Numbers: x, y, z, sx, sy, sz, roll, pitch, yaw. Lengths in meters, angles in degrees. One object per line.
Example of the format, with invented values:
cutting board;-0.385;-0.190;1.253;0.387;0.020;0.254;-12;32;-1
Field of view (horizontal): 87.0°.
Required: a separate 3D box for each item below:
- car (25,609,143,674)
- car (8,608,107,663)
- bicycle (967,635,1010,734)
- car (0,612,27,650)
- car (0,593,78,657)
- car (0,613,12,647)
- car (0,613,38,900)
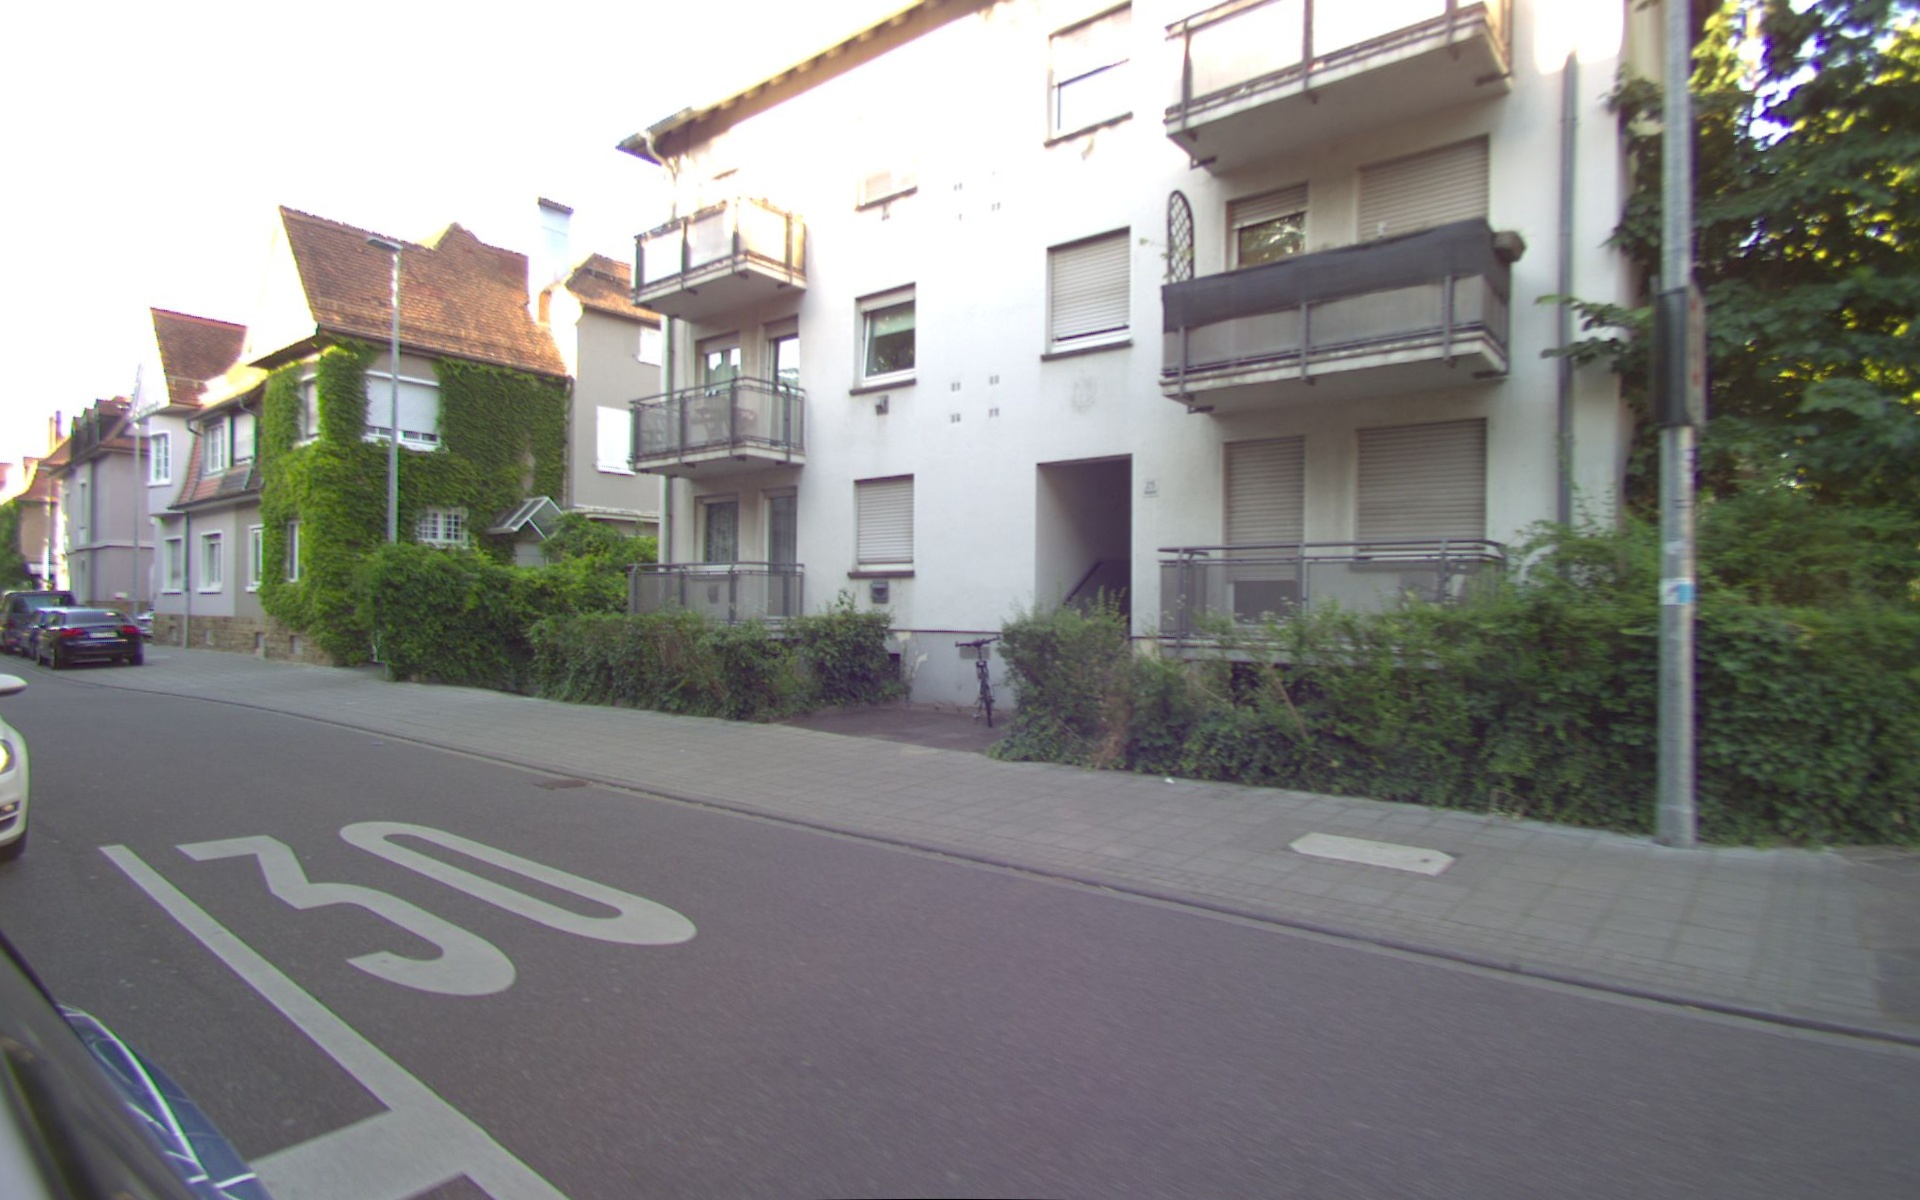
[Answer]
car;-21.904;0.978;25.260;3.998;1.465;1.671;-1;0;41
car;-26.384;0.996;29.548;3.998;1.465;1.671;-1;0;41
bicycle;0.331;0.981;12.287;0.470;1.027;1.609;0;1;0
car;-38.508;1.210;40.085;4.286;1.438;1.797;-1;0;41
car;-29.945;0.769;32.527;4.286;1.920;1.797;-1;0;41
car;-42.883;1.315;44.123;4.286;1.438;1.797;-1;0;41
car;-6.978;0.819;5.966;4.109;1.461;1.819;0;0;41
